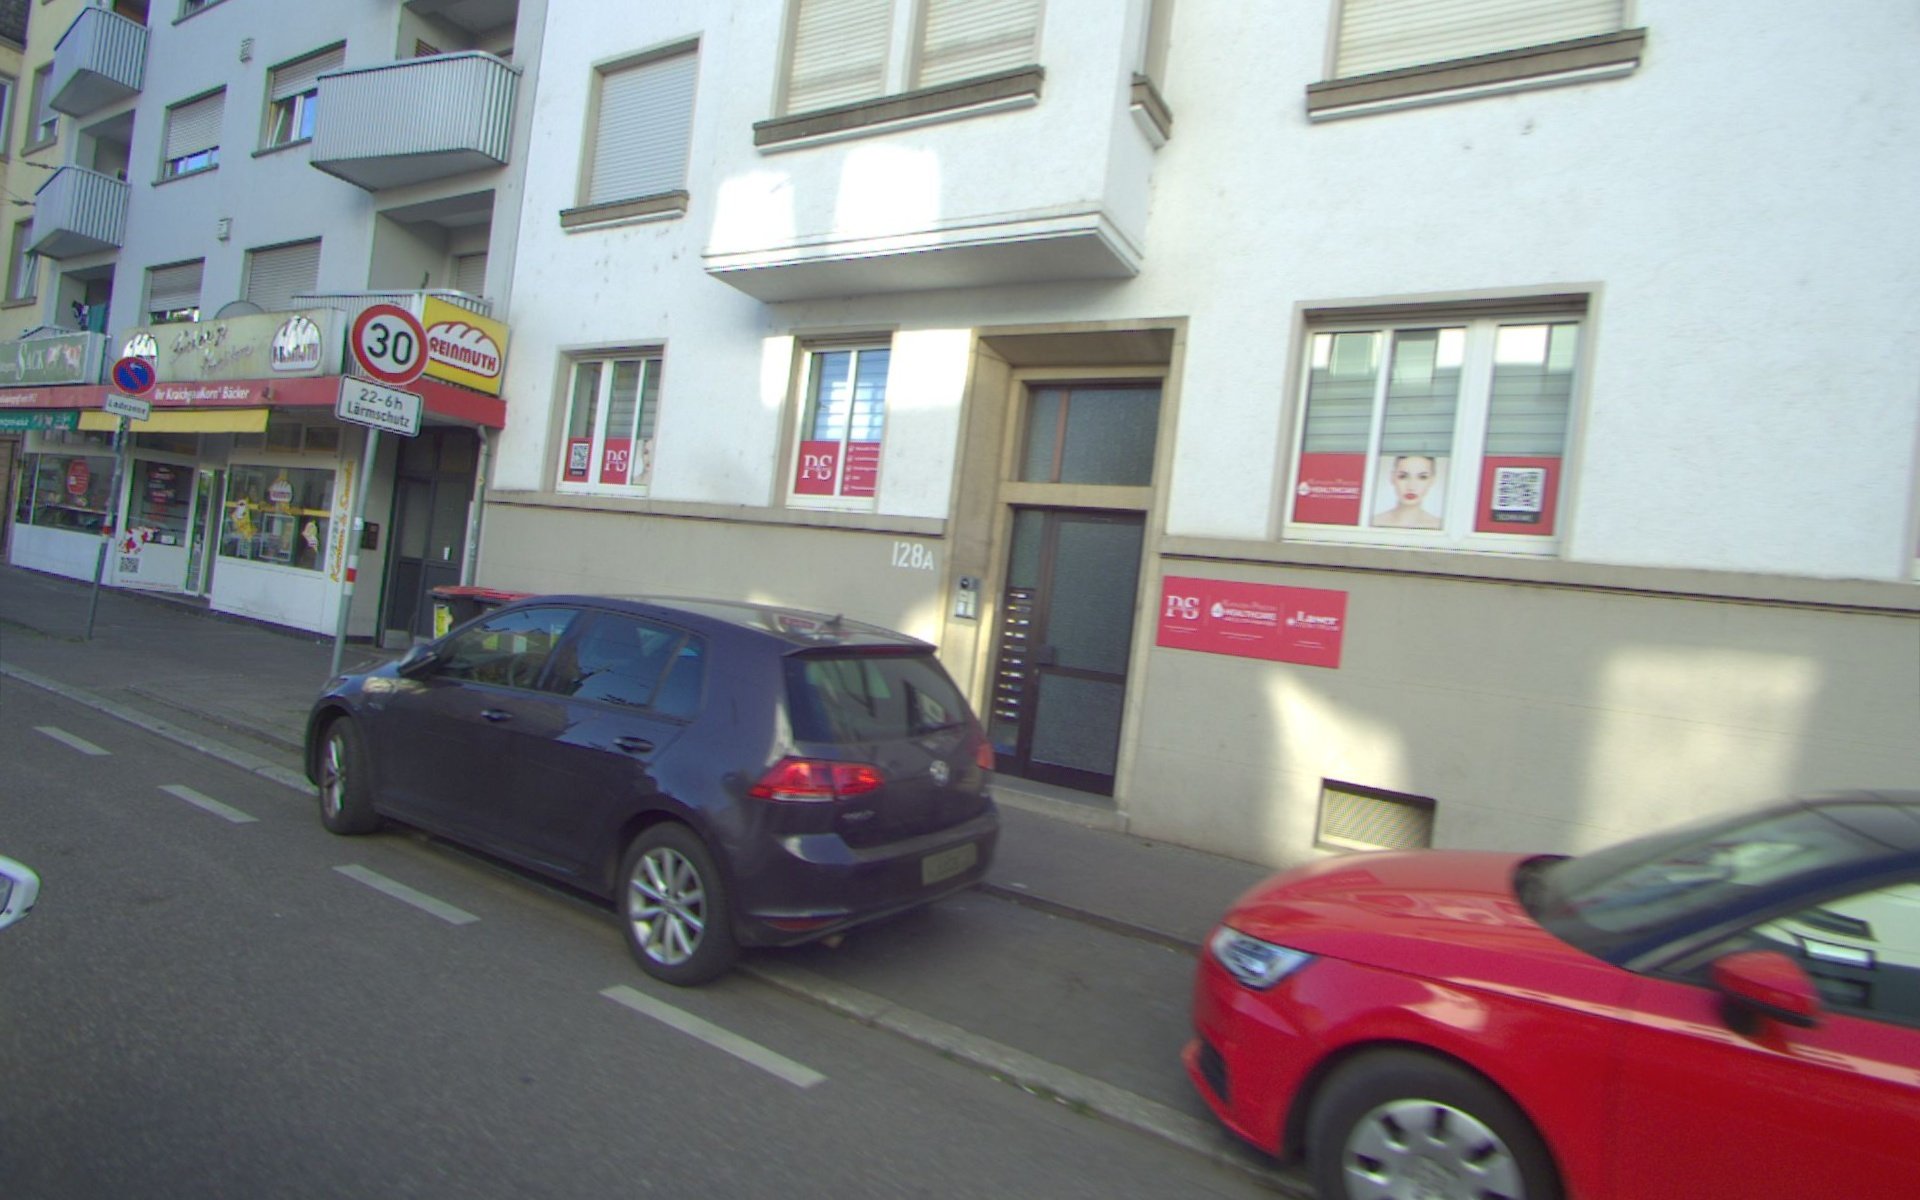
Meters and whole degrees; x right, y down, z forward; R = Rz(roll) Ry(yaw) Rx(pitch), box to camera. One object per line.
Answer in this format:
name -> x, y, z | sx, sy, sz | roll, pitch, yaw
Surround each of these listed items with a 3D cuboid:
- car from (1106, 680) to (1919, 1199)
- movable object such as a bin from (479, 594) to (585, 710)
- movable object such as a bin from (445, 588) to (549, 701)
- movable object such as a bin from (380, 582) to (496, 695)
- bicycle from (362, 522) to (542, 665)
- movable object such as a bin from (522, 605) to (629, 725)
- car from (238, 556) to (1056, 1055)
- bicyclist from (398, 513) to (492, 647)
car -> 2.629, 1.238, 2.661 | 3.924, 1.492, 1.857 | 6, 1, 33
movable object such as a bin -> -4.347, 0.536, 10.233 | 0.560, 1.085, 0.677 | 7, -1, 30
movable object such as a bin -> -4.838, 0.474, 10.528 | 0.560, 1.085, 0.677 | 7, -1, 30
movable object such as a bin -> -5.471, 0.416, 10.564 | 0.607, 1.085, 0.771 | 7, -1, 30
bicycle -> -7.006, -0.050, 13.967 | 0.763, 1.730, 1.932 | 7, -1, 34
movable object such as a bin -> -3.794, 0.647, 9.948 | 0.560, 1.085, 0.677 | 7, -1, 30
car -> -1.844, 0.691, 5.313 | 4.287, 1.426, 1.711 | 6, 1, 33
bicyclist -> -7.098, -0.268, 13.884 | 0.502, 1.722, 0.843 | 7, -1, 35
